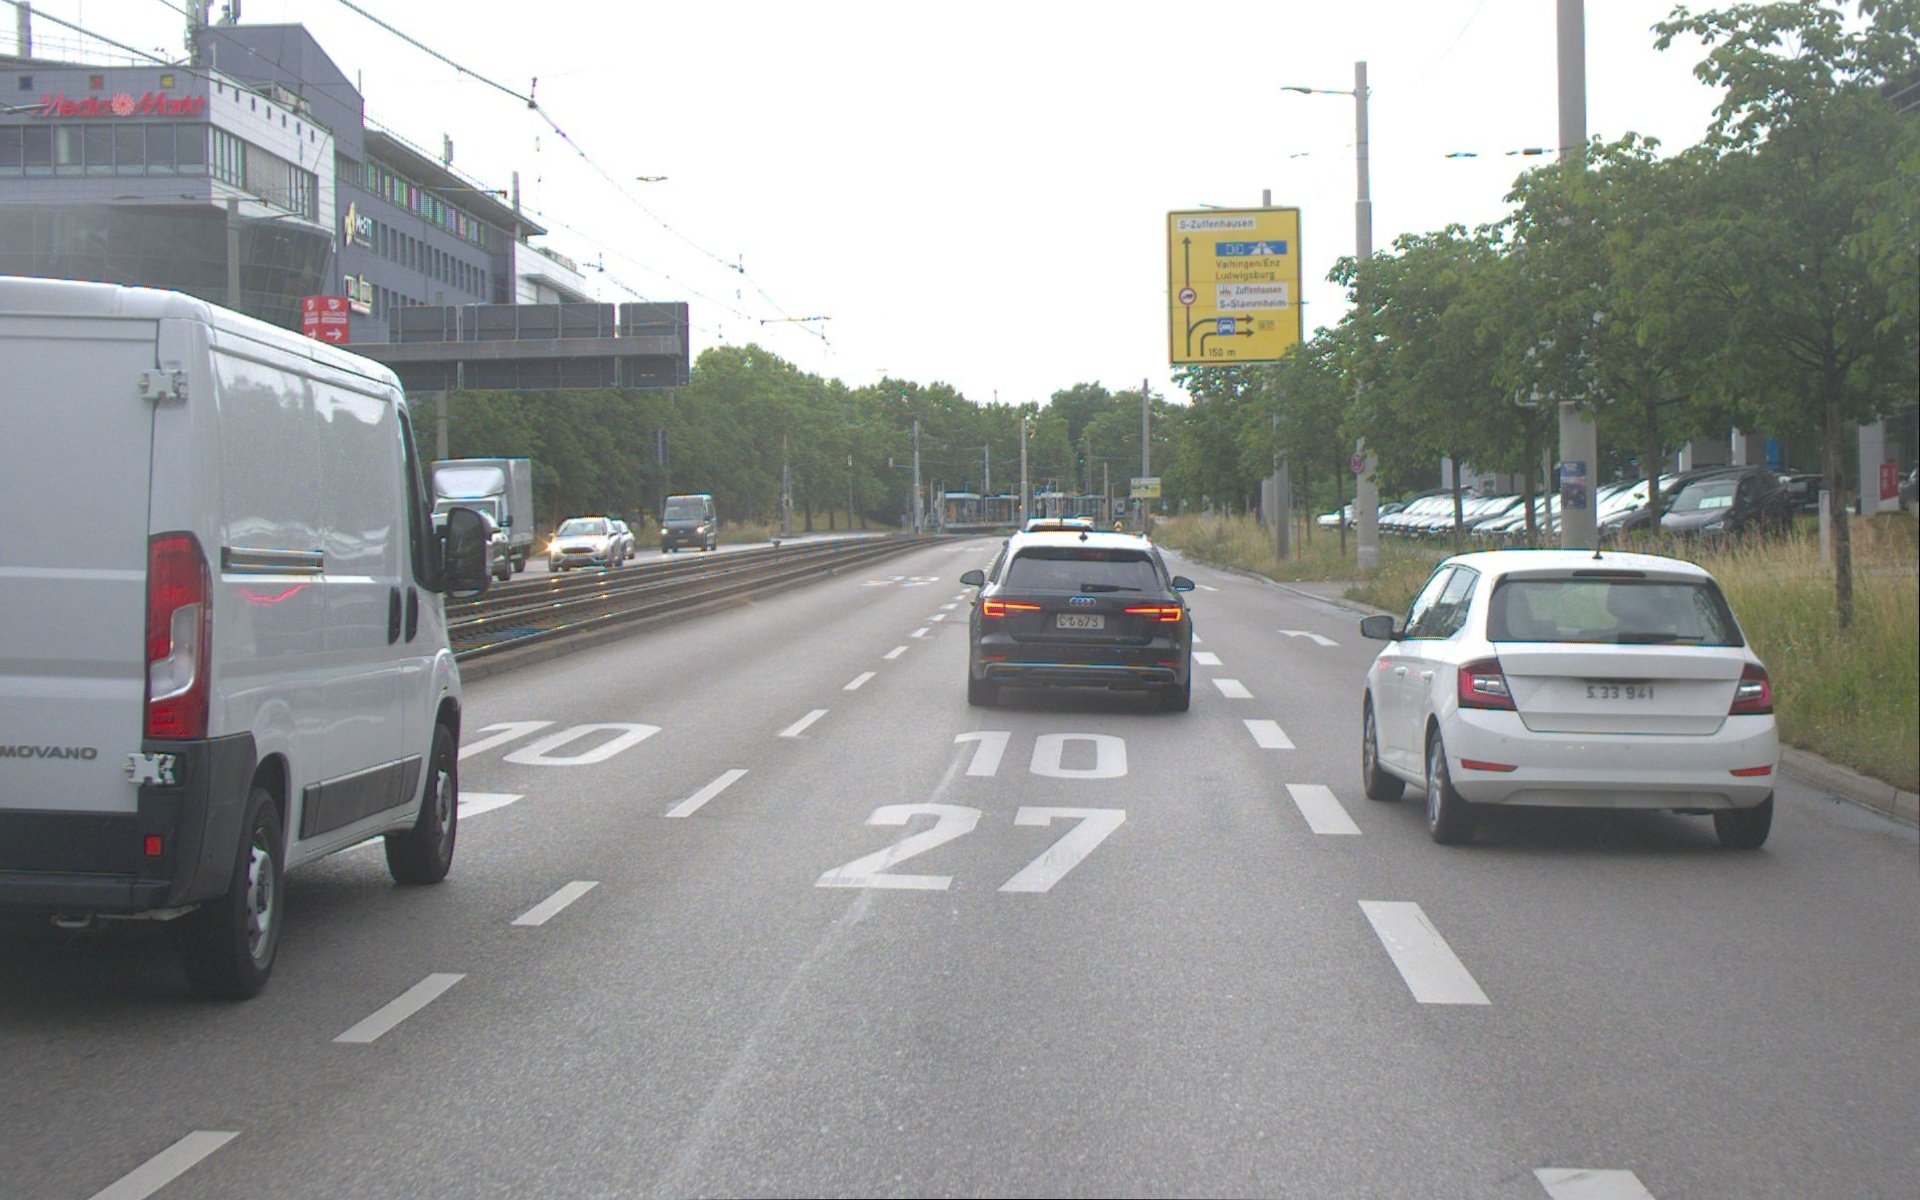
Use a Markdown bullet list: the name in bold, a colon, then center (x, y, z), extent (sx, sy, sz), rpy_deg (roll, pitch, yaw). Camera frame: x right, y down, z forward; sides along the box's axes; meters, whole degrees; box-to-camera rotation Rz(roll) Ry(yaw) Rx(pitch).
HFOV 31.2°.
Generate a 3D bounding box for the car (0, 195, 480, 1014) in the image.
- **car**: center (-3.272, -0.081, 12.115), extent (2.445, 2.286, 4.905), rpy_deg (2, 2, 0)

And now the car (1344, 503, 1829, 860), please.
- **car**: center (3.188, 0.358, 18.272), extent (1.829, 1.650, 4.000), rpy_deg (1, 1, 0)

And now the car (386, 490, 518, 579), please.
- **car**: center (-11.318, -1.465, 76.824), extent (2.158, 1.879, 4.301), rpy_deg (2, 1, 2)

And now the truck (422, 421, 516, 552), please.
- **truck**: center (-14.238, -3.269, 99.975), extent (2.158, 3.633, 6.875), rpy_deg (1, 1, -4)

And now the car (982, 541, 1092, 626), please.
- **car**: center (1.407, -0.313, 61.315), extent (1.894, 1.460, 3.909), rpy_deg (0, 1, 2)

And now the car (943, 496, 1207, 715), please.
- **car**: center (1.015, 0.013, 28.535), extent (1.994, 1.631, 4.000), rpy_deg (2, 1, 4)
